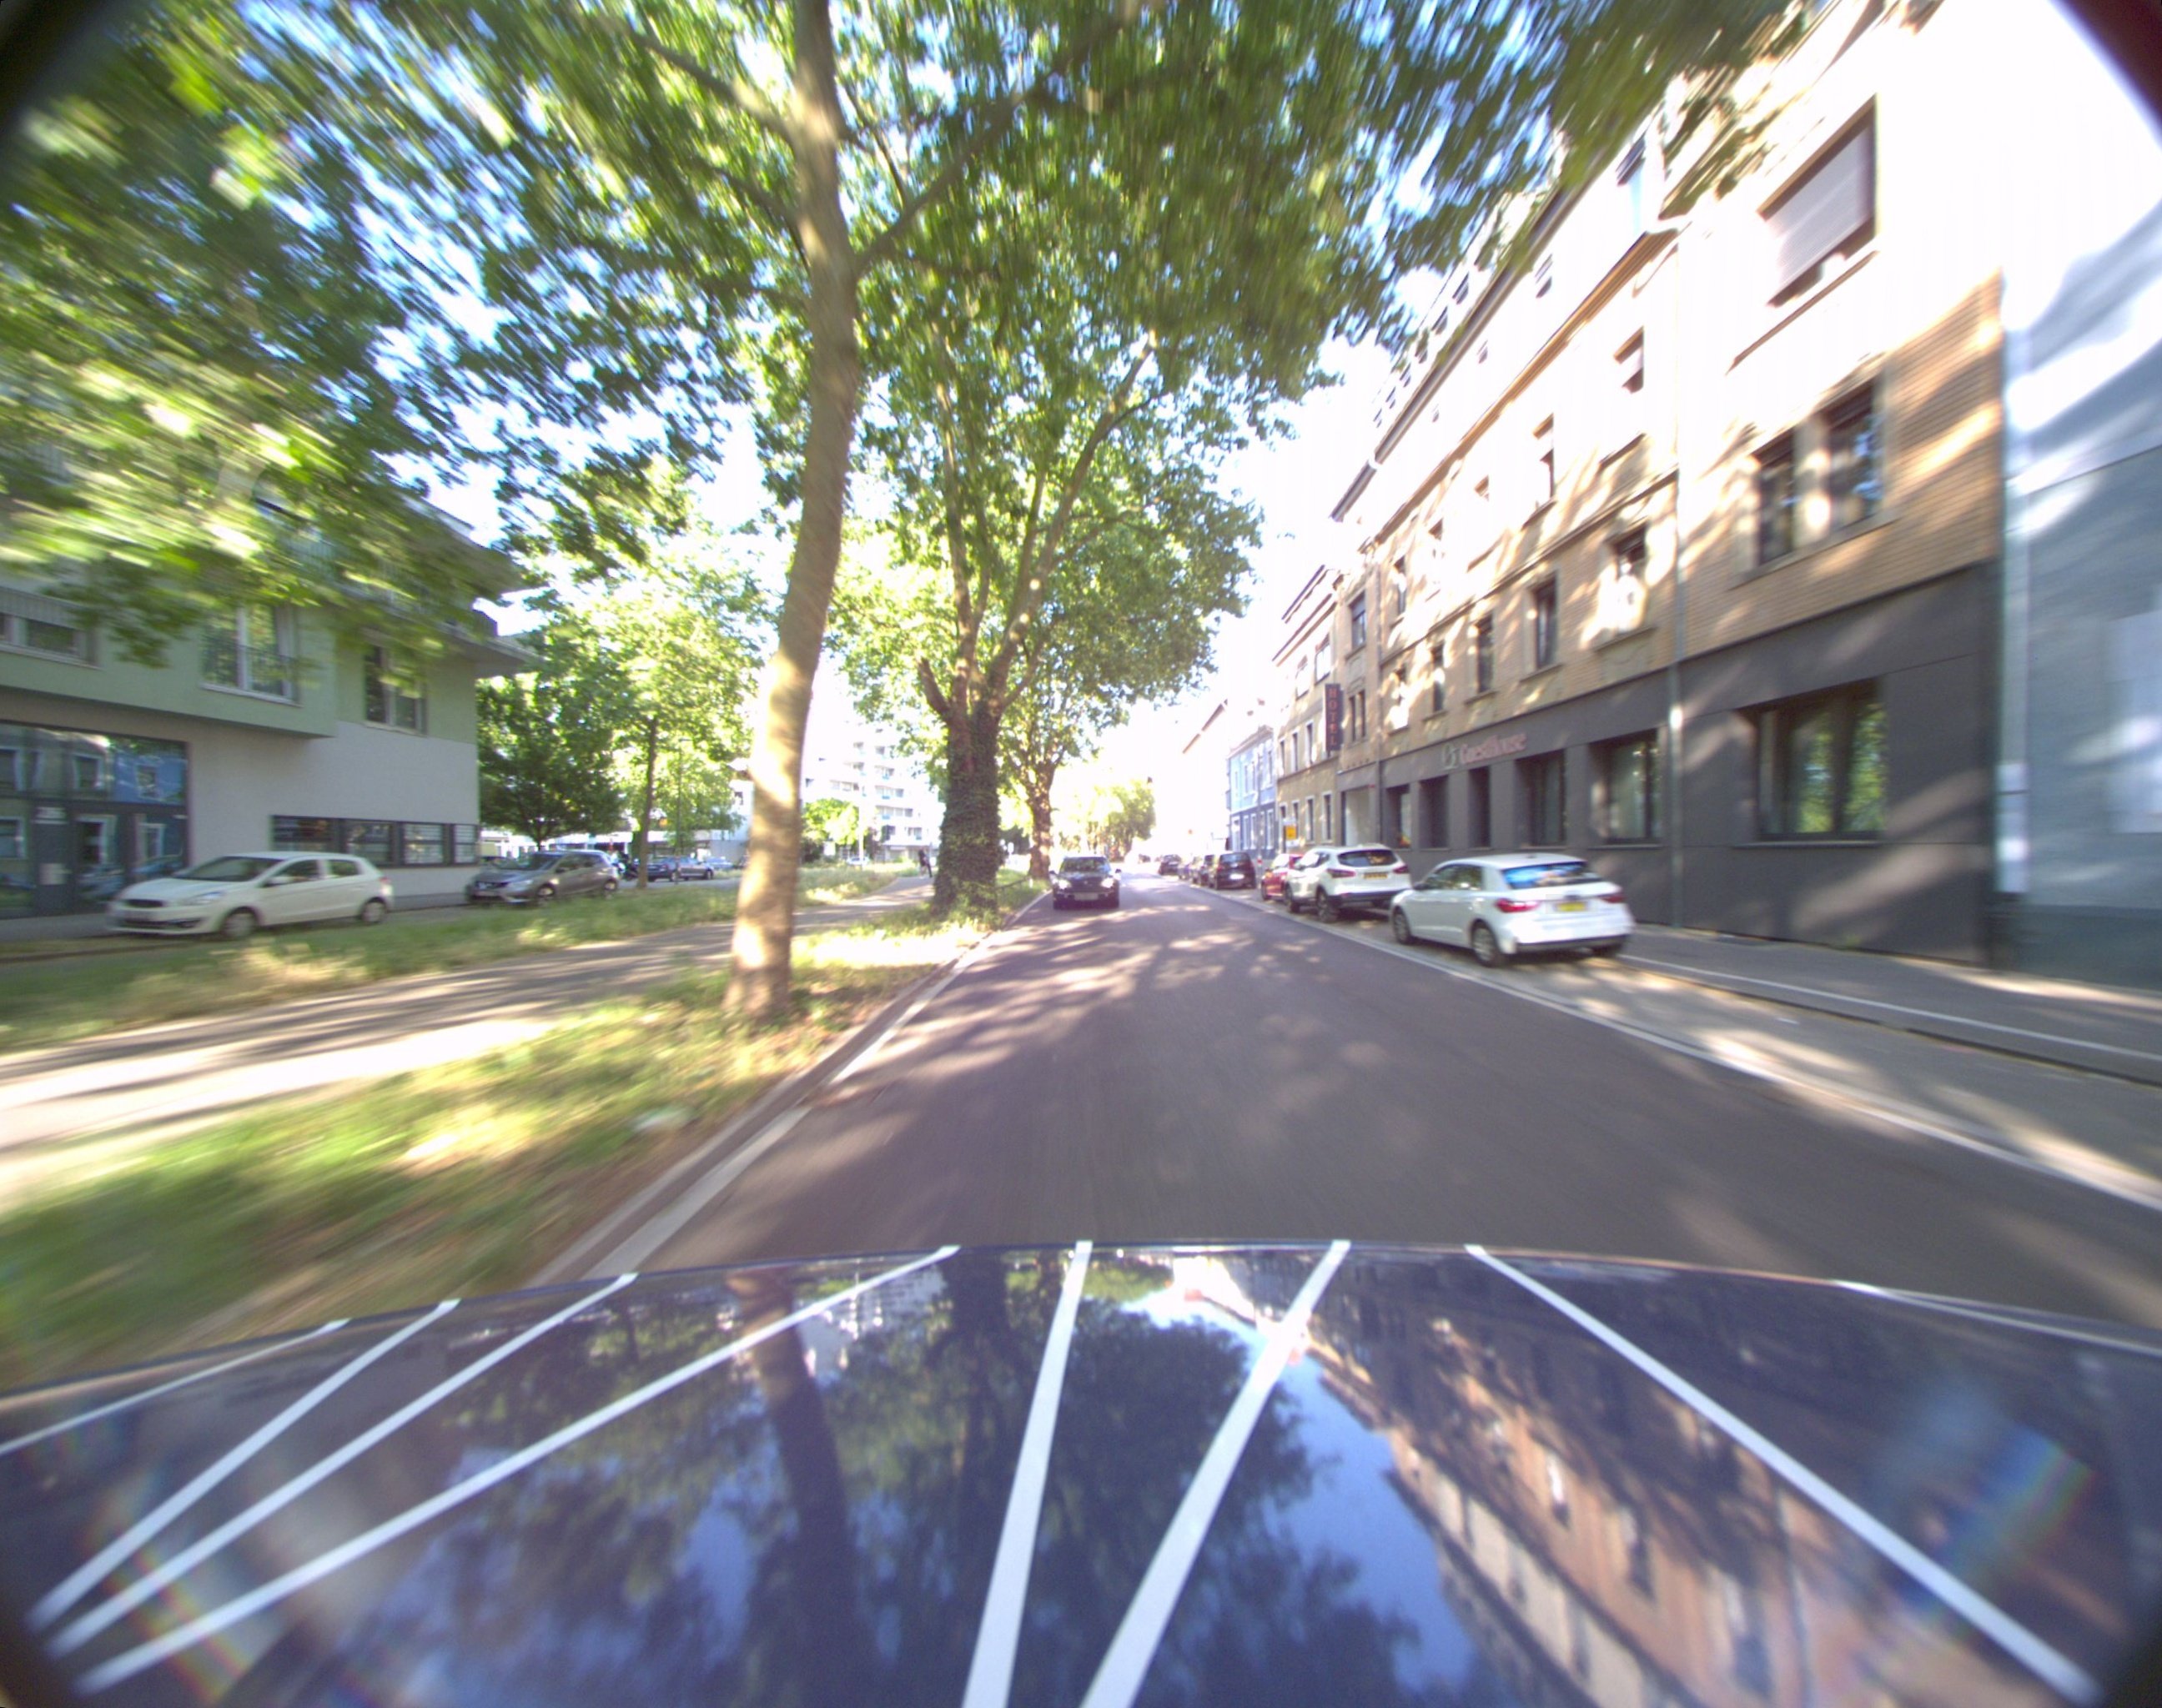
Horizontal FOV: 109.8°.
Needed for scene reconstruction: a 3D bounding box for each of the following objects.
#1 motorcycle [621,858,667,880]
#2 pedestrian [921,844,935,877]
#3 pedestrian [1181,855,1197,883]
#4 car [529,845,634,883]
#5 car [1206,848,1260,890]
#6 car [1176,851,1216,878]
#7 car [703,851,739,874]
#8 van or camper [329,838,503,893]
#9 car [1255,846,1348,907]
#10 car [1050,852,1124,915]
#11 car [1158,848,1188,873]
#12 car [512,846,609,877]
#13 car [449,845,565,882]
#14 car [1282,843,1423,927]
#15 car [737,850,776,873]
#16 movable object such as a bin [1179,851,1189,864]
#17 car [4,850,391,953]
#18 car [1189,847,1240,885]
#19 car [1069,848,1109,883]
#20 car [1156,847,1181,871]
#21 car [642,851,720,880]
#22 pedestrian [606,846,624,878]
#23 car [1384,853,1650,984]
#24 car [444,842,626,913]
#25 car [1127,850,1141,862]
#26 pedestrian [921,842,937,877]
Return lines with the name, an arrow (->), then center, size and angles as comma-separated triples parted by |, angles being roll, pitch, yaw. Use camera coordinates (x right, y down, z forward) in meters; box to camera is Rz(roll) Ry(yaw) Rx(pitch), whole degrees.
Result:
motorcycle -> -25.024, 0.840, 43.535 | 0.950, 1.241, 2.319 | 0, 0, 13
pedestrian -> -8.794, 0.390, 43.652 | 0.785, 1.869, 0.802 | -1, 1, -11
pedestrian -> 6.069, 0.834, 42.681 | 0.865, 1.561, 0.706 | -1, 1, 4
car -> -29.403, 0.644, 44.956 | 1.997, 2.083, 5.061 | -1, -3, 17
car -> 6.287, 0.569, 31.719 | 1.681, 1.595, 3.706 | -2, 0, 3
car -> 6.894, 0.600, 45.775 | 1.654, 1.478, 4.262 | -2, 0, -1
car -> -27.927, 0.683, 58.904 | 1.831, 1.577, 4.359 | 2, -3, -34
van or camper -> -29.292, 0.465, 33.749 | 2.260, 2.234, 5.377 | 0, 0, 19
car -> 6.427, 0.592, 22.522 | 1.682, 1.583, 3.756 | -2, 0, 1
car -> 0.206, 0.751, 21.819 | 1.844, 1.536, 4.524 | -2, 0, 1
car -> 6.769, 0.464, 56.253 | 1.910, 1.663, 4.494 | -2, 0, 4
car -> -32.067, 0.502, 46.998 | 1.997, 1.764, 4.642 | -1, -3, 17
car -> -24.242, 0.454, 32.244 | 1.672, 1.445, 3.564 | -1, -3, 17
car -> 5.848, 0.587, 16.914 | 1.682, 1.575, 4.200 | -2, 0, 1
car -> -25.377, 0.628, 59.306 | 1.942, 1.649, 4.467 | 2, -3, -34
movable object such as a bin -> 10.895, 0.356, 80.379 | 1.033, 1.278, 1.063 | 0, 1, 12
car -> -15.325, 0.714, 13.658 | 1.863, 1.534, 4.319 | -1, 0, 0
car -> 6.424, 0.543, 36.903 | 1.786, 1.663, 4.156 | -2, 0, 1
car -> 0.355, 0.491, 33.806 | 1.654, 1.445, 3.534 | -1, 0, 1
car -> 7.122, 0.372, 61.852 | 1.668, 1.808, 4.005 | -2, 0, 2
car -> -22.271, 0.684, 42.481 | 1.673, 1.513, 3.992 | 0, -3, 12
pedestrian -> -26.159, 0.458, 42.666 | 0.560, 1.742, 0.532 | -1, 2, 12
car -> 5.988, 0.773, 11.035 | 1.682, 1.487, 3.871 | -2, 0, 1
car -> -15.028, 0.585, 21.268 | 1.909, 1.760, 4.319 | -1, 0, 0
car -> 7.787, 0.244, 111.445 | 1.898, 1.782, 4.000 | 0, 0, 2
pedestrian -> -8.563, 0.316, 42.737 | 0.839, 1.921, 0.781 | -1, 1, -11
